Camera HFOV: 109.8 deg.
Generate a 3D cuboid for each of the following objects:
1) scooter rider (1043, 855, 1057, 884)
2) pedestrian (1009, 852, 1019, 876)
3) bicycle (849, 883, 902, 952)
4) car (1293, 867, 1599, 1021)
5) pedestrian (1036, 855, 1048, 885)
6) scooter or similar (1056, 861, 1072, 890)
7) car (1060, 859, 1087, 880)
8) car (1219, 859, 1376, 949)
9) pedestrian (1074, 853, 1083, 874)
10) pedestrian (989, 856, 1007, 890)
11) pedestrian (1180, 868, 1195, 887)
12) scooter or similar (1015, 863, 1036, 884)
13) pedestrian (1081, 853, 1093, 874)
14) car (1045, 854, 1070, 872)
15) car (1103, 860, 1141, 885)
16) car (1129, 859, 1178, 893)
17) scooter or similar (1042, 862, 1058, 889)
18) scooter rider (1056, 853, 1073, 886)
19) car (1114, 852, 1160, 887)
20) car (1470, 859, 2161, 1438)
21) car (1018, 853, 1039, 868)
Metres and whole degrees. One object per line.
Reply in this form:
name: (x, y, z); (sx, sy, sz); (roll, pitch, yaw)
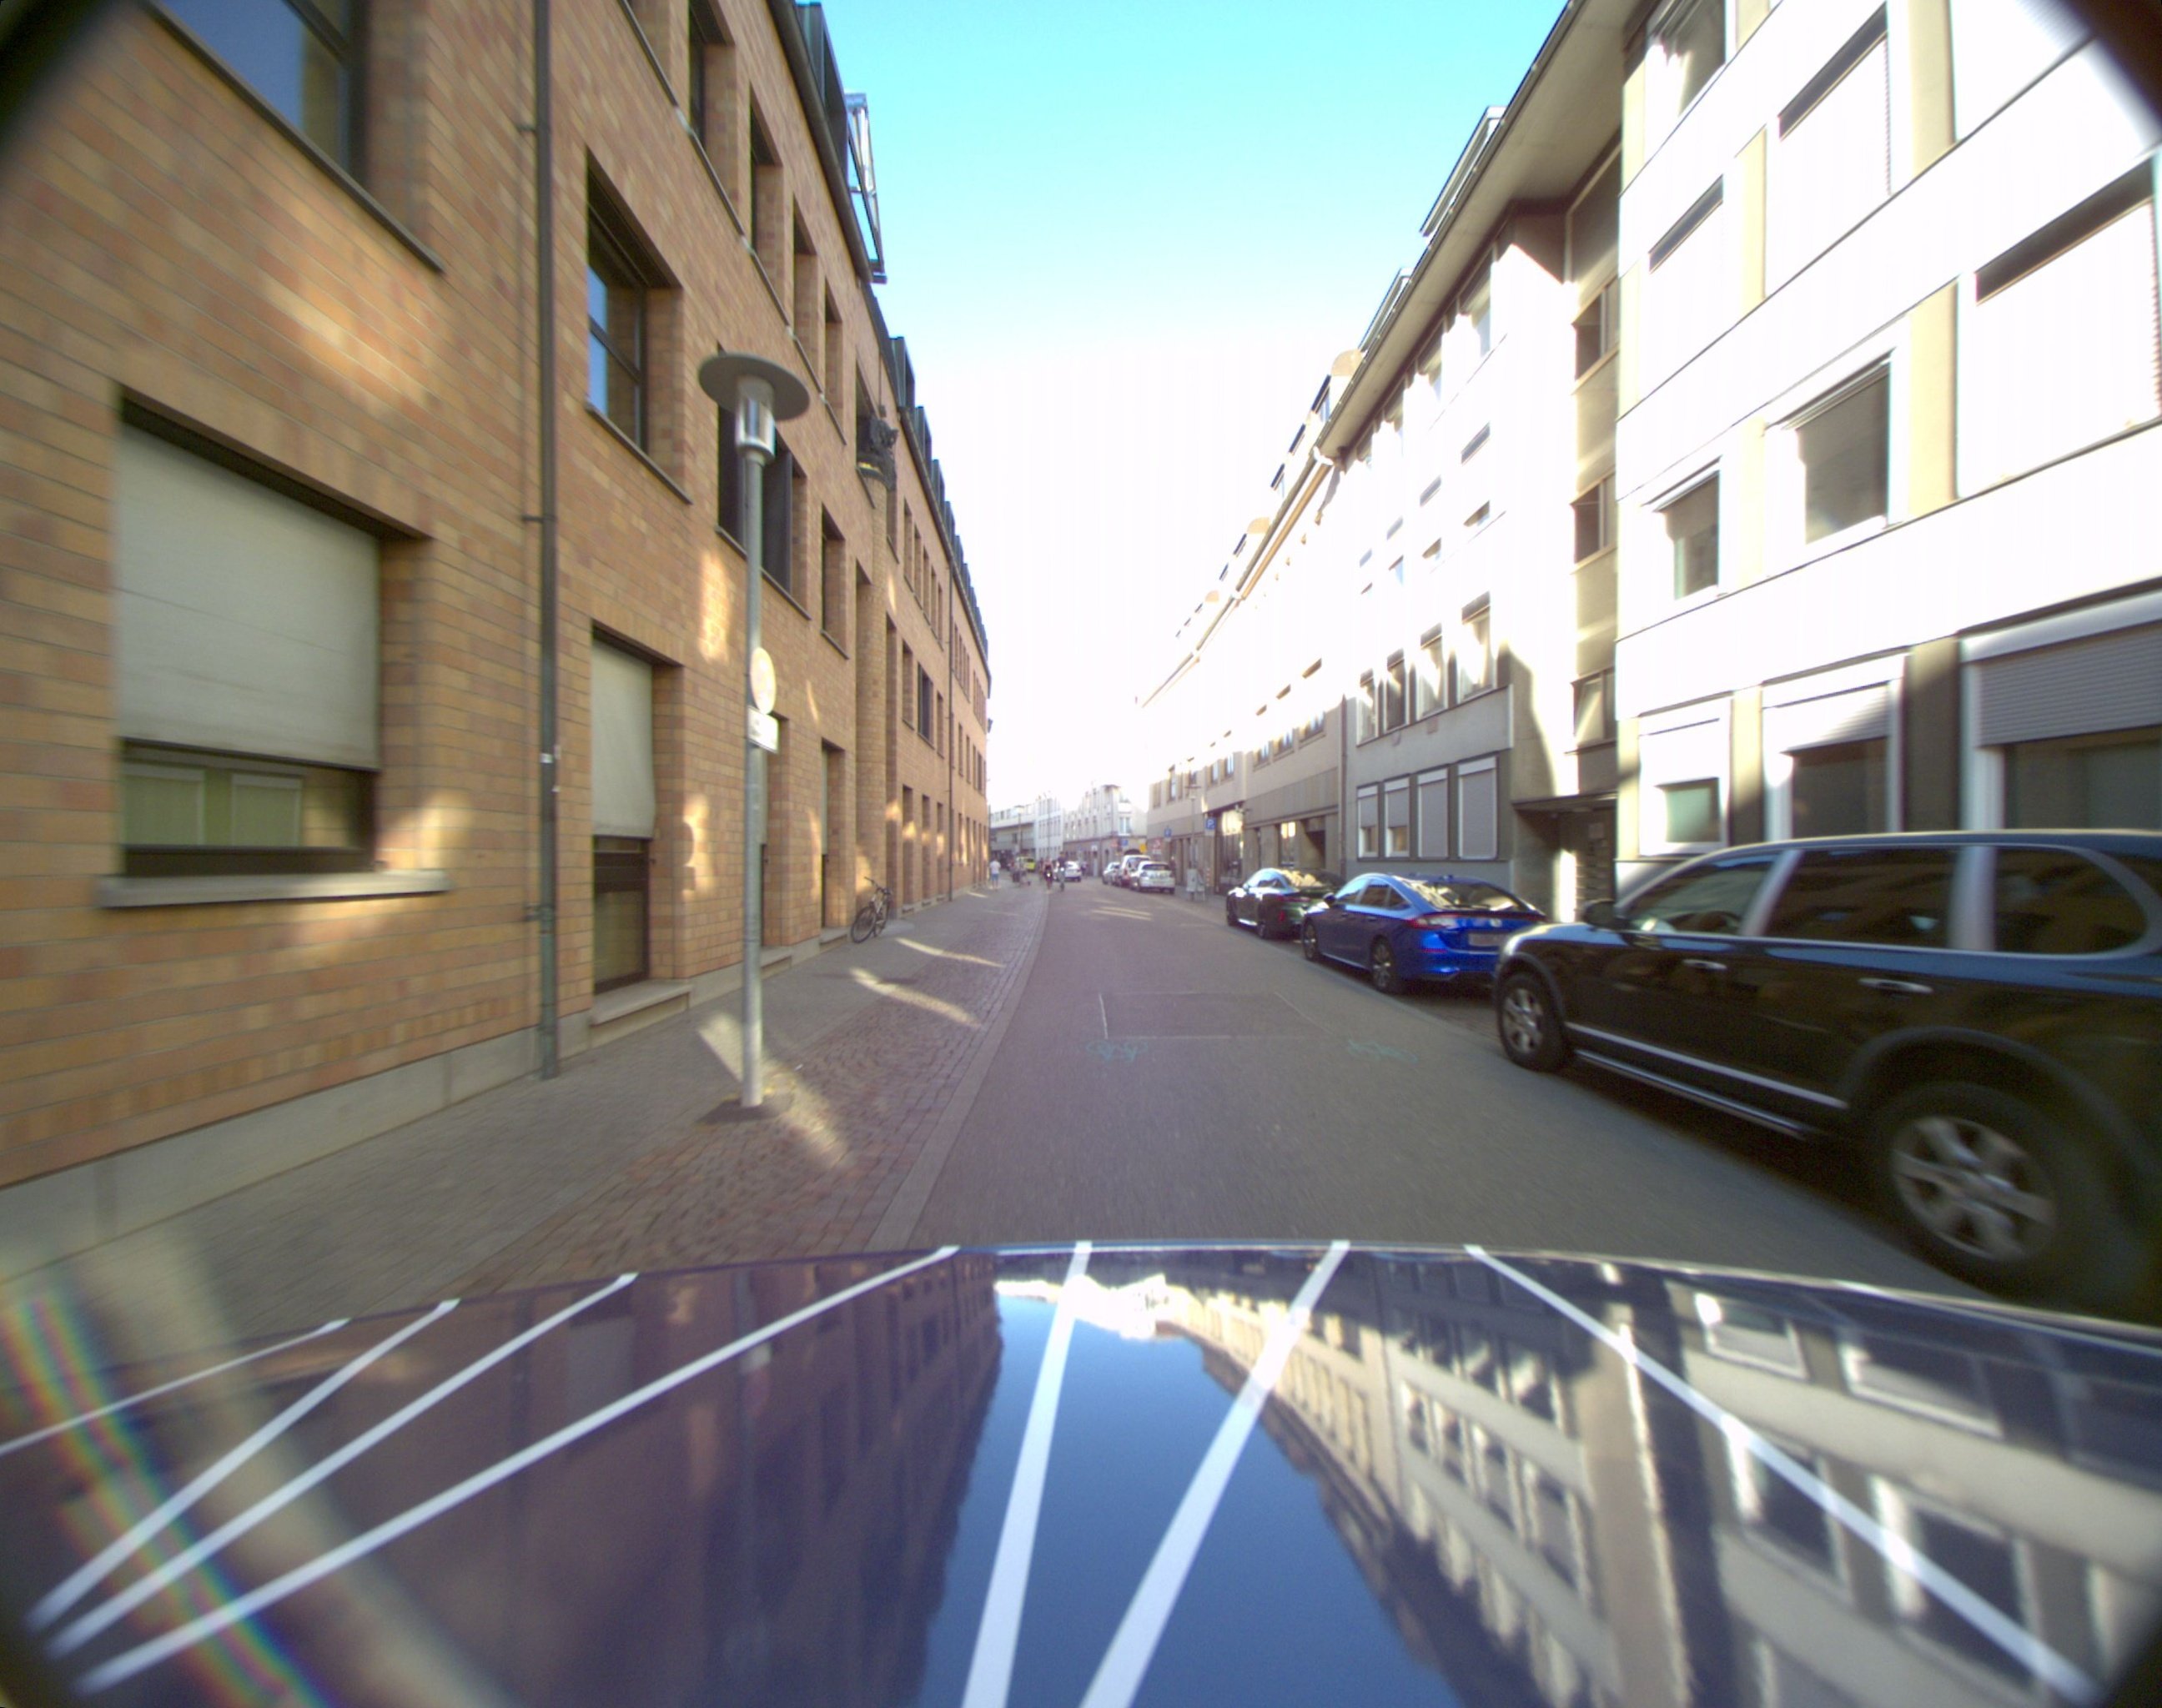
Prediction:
scooter rider: (-1.648, 0.810, 40.072); (0.592, 1.500, 0.599); (-2, 1, -13)
pedestrian: (-5.684, 0.827, 64.292); (0.716, 2.002, 0.698); (0, 0, -14)
bicycle: (-3.802, 1.142, 14.176); (0.551, 1.097, 1.981); (3, 0, -5)
car: (4.382, 0.968, 10.015); (1.895, 1.521, 4.339); (0, 0, -1)
pedestrian: (-2.624, 1.099, 51.271); (0.716, 2.002, 0.698); (0, 0, -14)
scooter or similar: (-0.841, 1.053, 37.251); (0.524, 1.388, 1.554); (0, 0, -13)
car: (-0.596, 1.105, 56.379); (1.720, 1.508, 4.158); (0, 0, -5)
car: (4.350, 0.920, 16.123); (1.895, 1.521, 4.728); (2, 0, -1)
pedestrian: (-0.283, 0.872, 72.657); (0.716, 2.002, 0.698); (0, 0, -14)
pedestrian: (-4.216, 0.969, 38.650); (0.762, 1.706, 0.821); (2, 0, -2)
pedestrian: (5.662, 1.245, 40.491); (0.657, 1.029, 0.617); (0, 0, -8)
scooter or similar: (-3.436, 1.210, 47.259); (0.537, 1.228, 1.422); (-1, 0, 35)
pedestrian: (0.576, 0.871, 72.966); (0.938, 2.002, 0.698); (0, 0, -14)
car: (-2.518, 0.915, 79.364); (1.890, 1.695, 3.996); (-5, 1, -11)
car: (2.618, 1.173, 49.589); (1.743, 1.483, 3.797); (1, 0, -8)
car: (3.513, 1.022, 37.392); (1.674, 1.513, 3.774); (2, 0, -5)
scooter or similar: (-1.633, 1.097, 40.057); (0.550, 1.388, 1.554); (0, 0, -13)
scooter rider: (-0.799, 0.771, 37.200); (0.648, 1.584, 0.599); (-2, 1, -13)
car: (3.125, 0.871, 43.613); (1.905, 1.846, 4.732); (1, 0, -4)
car: (4.114, 0.873, 3.948); (1.894, 1.666, 4.553); (0, 0, 1)
car: (-6.582, 0.790, 95.111); (1.891, 1.863, 3.994); (1, 0, -16)
